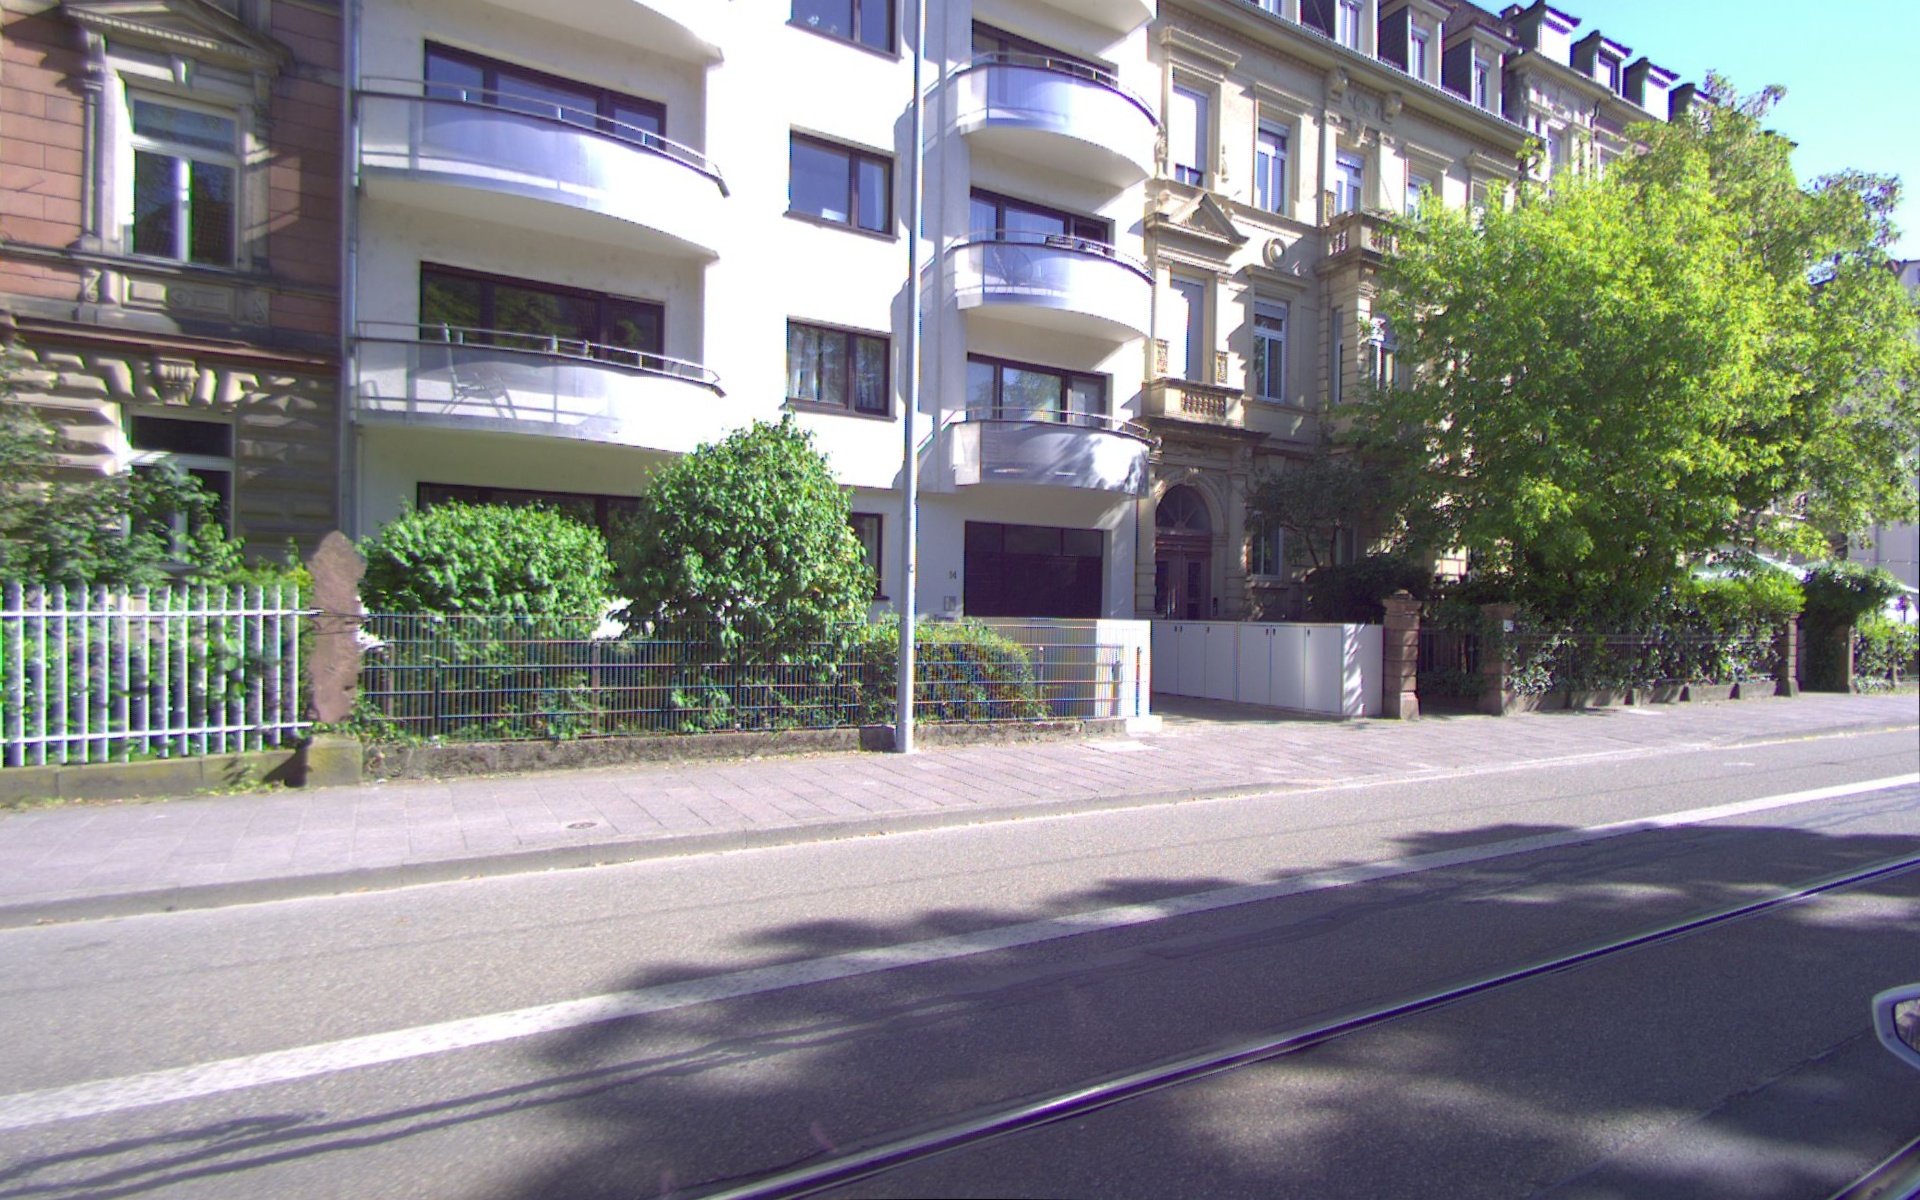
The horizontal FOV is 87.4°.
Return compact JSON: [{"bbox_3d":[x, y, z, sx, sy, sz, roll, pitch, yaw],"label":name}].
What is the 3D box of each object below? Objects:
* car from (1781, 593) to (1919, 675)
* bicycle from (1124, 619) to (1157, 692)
[{"bbox_3d":[34.104,1.308,38.266,4.702,2.878,1.888,3,-1,-13],"label":"car"},{"bbox_3d":[3.134,0.941,17.470,0.351,1.218,1.100,1,0,0],"label":"bicycle"}]
